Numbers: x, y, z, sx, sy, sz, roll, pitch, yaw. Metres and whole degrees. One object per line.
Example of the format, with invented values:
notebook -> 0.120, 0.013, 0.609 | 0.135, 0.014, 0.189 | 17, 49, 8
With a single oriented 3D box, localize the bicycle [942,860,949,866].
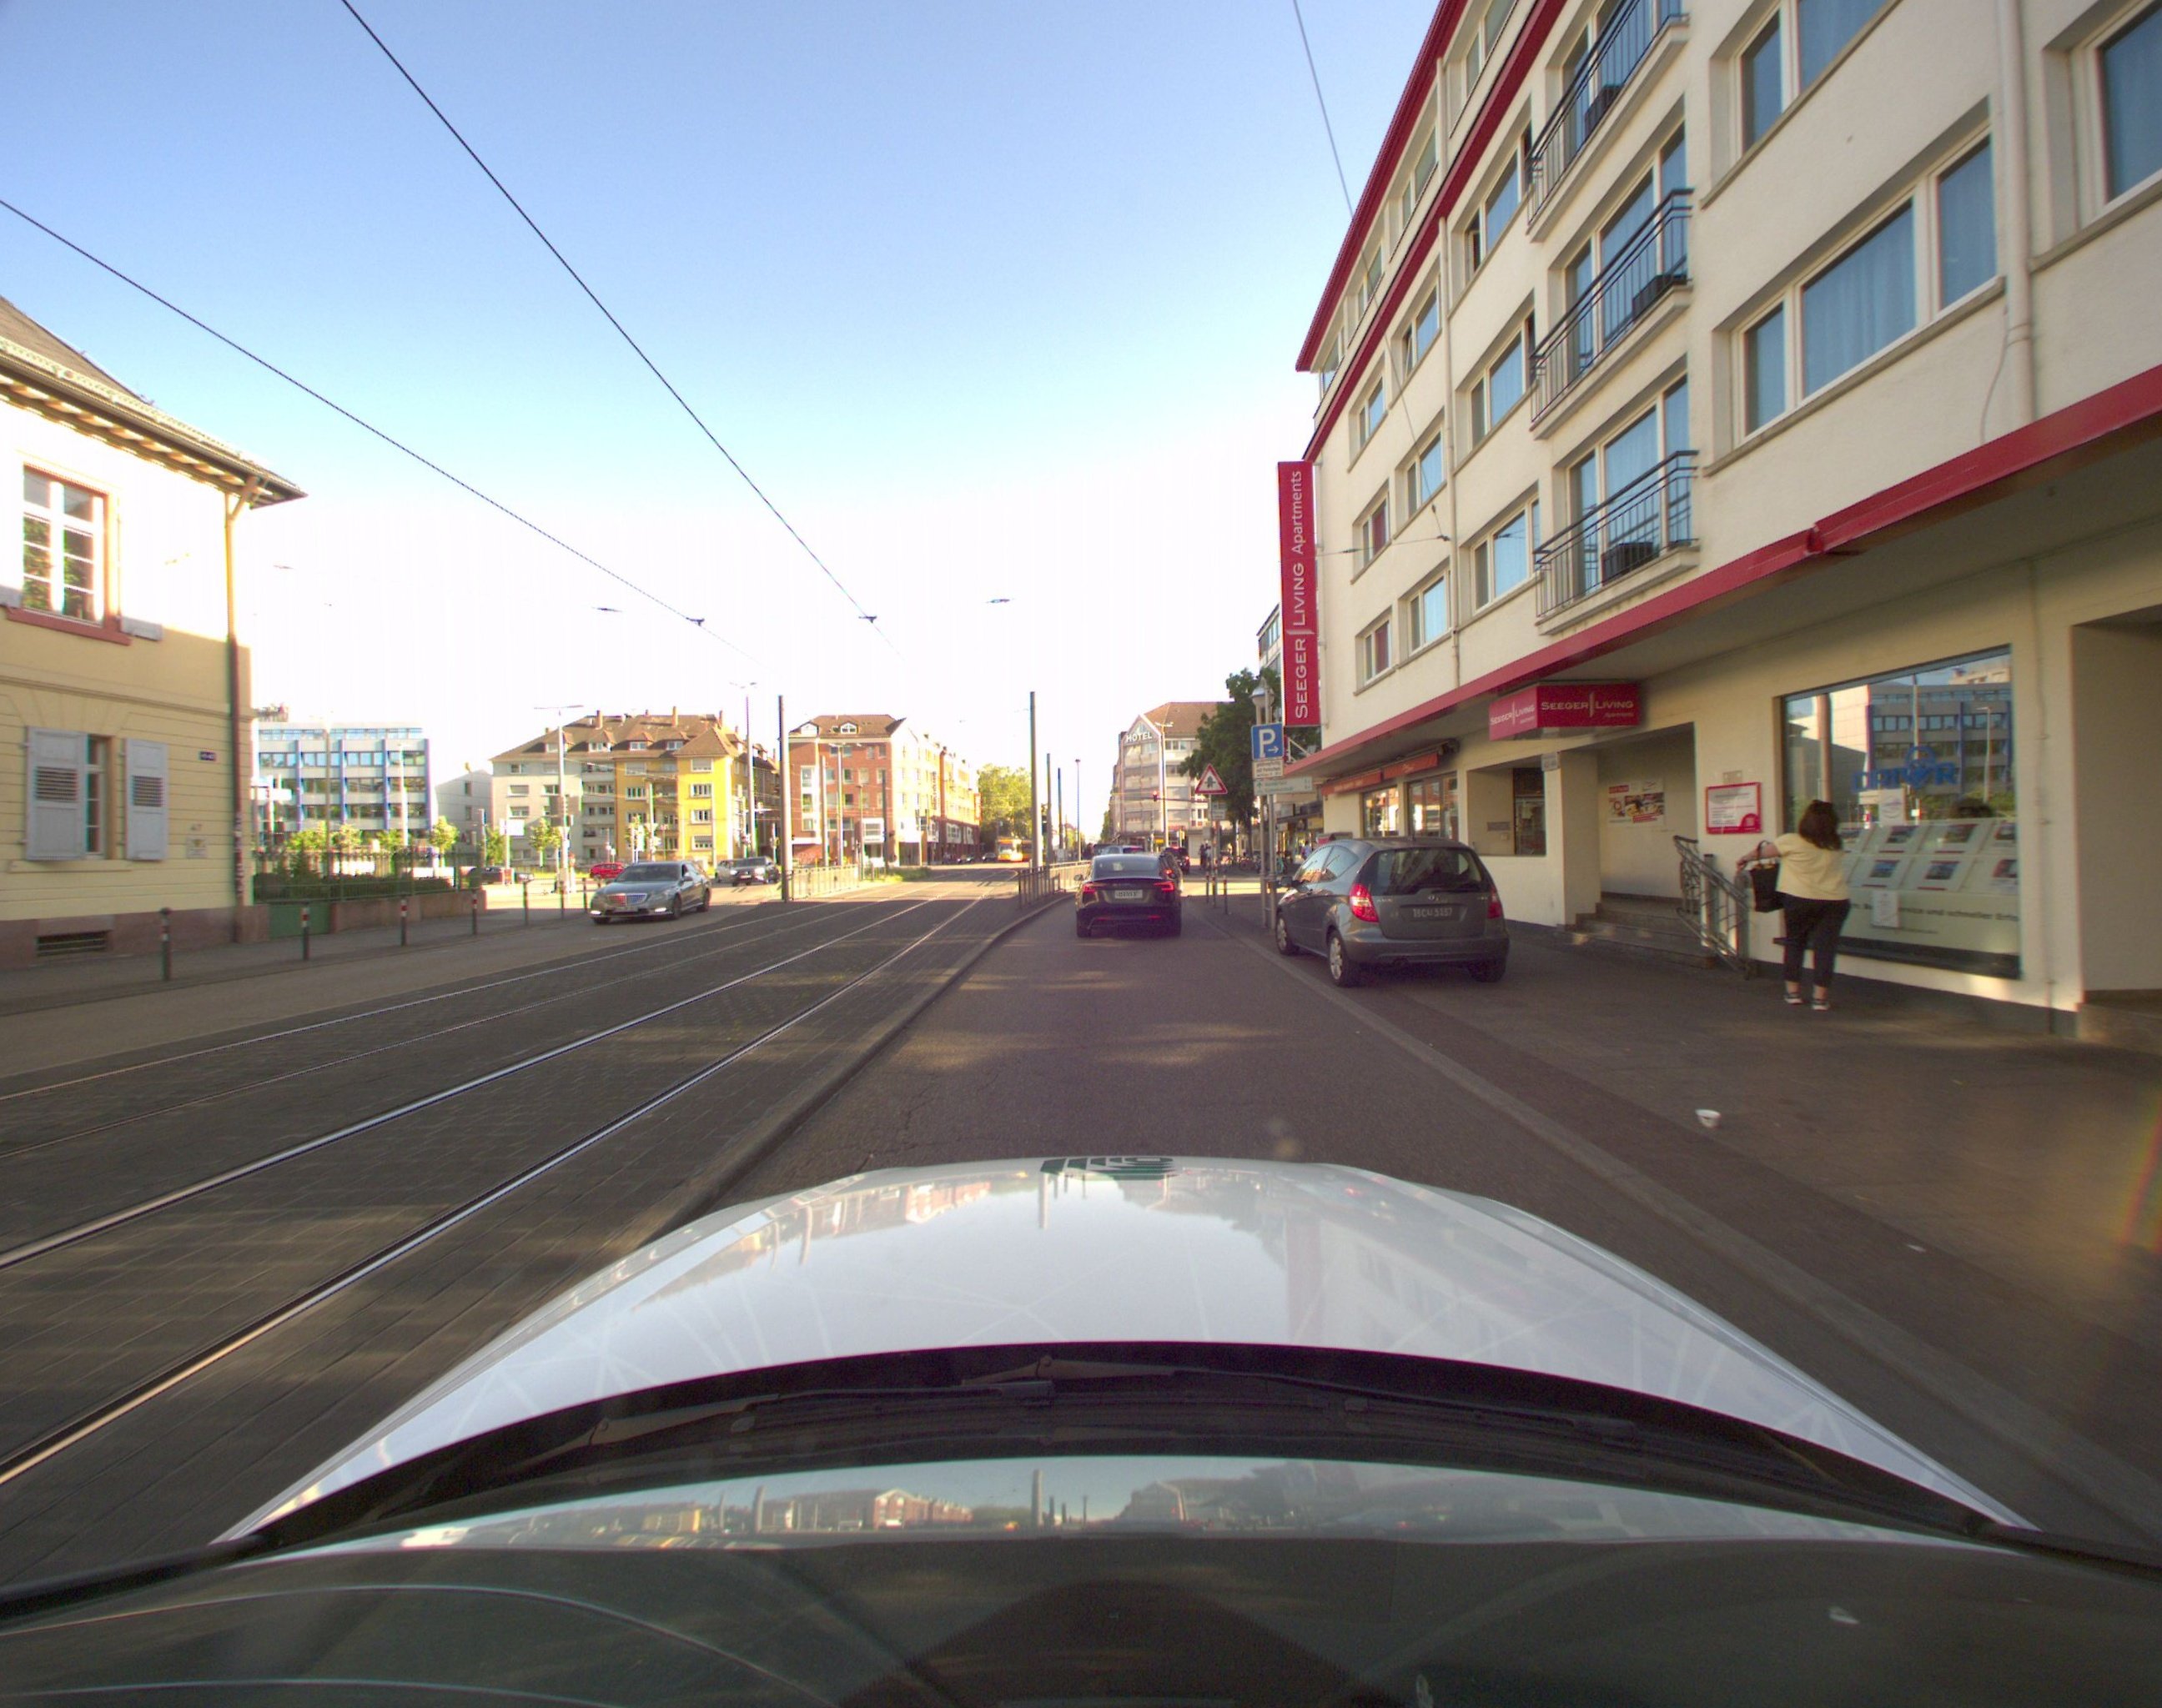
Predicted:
bicycle -> -19.239, 1.252, 115.649 | 0.699, 0.855, 2.054 | -2, 0, 1

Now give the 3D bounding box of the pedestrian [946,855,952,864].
pedestrian -> -19.188, 0.750, 118.240 | 0.693, 1.308, 0.564 | -2, 0, 0

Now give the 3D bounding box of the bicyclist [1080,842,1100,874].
bicyclist -> 0.422, 0.176, 38.372 | 0.835, 1.500, 0.559 | 1, 0, -7

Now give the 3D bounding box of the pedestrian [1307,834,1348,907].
pedestrian -> 5.808, 0.378, 19.176 | 0.810, 1.683, 0.718 | 1, 0, 24

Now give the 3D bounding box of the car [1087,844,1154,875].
car -> 1.991, 0.260, 42.345 | 1.791, 1.519, 4.185 | 1, 0, -23

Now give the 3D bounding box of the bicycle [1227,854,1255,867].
bicycle -> 11.429, 0.470, 58.137 | 1.917, 0.890, 0.526 | -1, 0, 2

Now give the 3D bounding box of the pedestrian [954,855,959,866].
pedestrian -> -18.772, 0.970, 122.365 | 0.710, 1.667, 0.563 | 1, 0, -8

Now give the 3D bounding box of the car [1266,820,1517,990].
car -> 3.523, 0.494, 9.982 | 1.738, 1.632, 3.650 | -2, 0, 2

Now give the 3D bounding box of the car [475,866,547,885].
car -> -44.984, 1.696, 64.342 | 4.143, 1.490, 1.933 | 0, 0, -8

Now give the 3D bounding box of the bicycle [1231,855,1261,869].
bicycle -> 11.367, 0.548, 56.123 | 1.917, 0.888, 0.526 | -1, 0, 2

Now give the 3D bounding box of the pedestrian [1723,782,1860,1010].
pedestrian -> 6.091, 0.328, 6.974 | 0.796, 1.774, 0.938 | -2, -1, 44

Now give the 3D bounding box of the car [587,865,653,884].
car -> -37.157, 1.649, 65.750 | 4.143, 1.490, 1.933 | 0, 0, -8

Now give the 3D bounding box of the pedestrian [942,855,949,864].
pedestrian -> -19.247, 0.791, 115.658 | 0.708, 1.342, 0.666 | -1, 0, 1

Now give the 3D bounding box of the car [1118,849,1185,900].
car -> 2.265, 0.564, 25.358 | 1.643, 1.418, 4.012 | 1, 1, 11

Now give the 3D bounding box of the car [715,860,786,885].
car -> -22.354, 1.246, 55.036 | 4.551, 1.556, 1.826 | 1, 0, 25

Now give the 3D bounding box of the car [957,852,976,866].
car -> -16.902, 0.697, 120.440 | 1.986, 2.013, 4.002 | -2, 0, 2

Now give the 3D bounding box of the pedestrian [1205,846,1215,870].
pedestrian -> 8.716, 0.289, 55.007 | 0.626, 1.613, 0.644 | 0, 0, 5

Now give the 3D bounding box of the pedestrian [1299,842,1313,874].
pedestrian -> 11.788, 0.188, 42.695 | 0.592, 1.641, 0.467 | -2, -1, 3

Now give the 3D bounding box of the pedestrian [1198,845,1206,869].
pedestrian -> 8.492, 0.190, 57.231 | 0.559, 1.683, 0.751 | 0, 0, 6

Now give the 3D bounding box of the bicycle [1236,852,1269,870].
bicycle -> 10.764, 0.422, 51.186 | 1.917, 1.097, 0.555 | -1, 0, 2

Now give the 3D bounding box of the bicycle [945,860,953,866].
bicycle -> -19.180, 1.341, 118.156 | 0.699, 0.855, 2.054 | -2, 0, 1

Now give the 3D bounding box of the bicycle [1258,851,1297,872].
bicycle -> 10.823, 0.417, 44.951 | 2.043, 1.121, 0.483 | -1, 0, 2

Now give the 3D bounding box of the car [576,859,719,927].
car -> -11.040, 0.908, 21.175 | 1.881, 1.495, 4.911 | -2, 0, -11

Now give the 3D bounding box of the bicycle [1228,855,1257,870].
bicycle -> 10.920, 0.560, 55.088 | 1.917, 0.950, 0.526 | -1, 0, 2

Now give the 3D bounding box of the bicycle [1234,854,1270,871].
bicycle -> 10.295, 0.522, 49.132 | 2.043, 0.982, 0.483 | -1, 0, 2

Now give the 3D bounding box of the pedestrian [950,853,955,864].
pedestrian -> -18.958, 0.640, 120.200 | 0.710, 1.555, 0.563 | 1, 0, -8

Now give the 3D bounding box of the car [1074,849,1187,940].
car -> 0.827, 0.669, 15.236 | 1.843, 1.484, 3.787 | 0, 0, 0

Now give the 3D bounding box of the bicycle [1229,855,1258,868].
bicycle -> 11.365, 0.536, 57.045 | 1.917, 0.890, 0.526 | -1, 0, 2

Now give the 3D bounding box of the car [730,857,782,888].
car -> -17.042, 0.911, 42.898 | 1.765, 1.512, 4.262 | -1, 0, -12

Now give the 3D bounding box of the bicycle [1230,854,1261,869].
bicycle -> 10.922, 0.482, 54.073 | 1.917, 0.950, 0.526 | -1, 0, 2

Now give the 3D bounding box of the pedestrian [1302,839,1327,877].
pedestrian -> 10.937, 0.203, 38.206 | 1.009, 1.742, 0.524 | 1, 0, -24

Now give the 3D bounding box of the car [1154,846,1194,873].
car -> 5.573, 0.316, 49.107 | 1.820, 1.519, 3.644 | 1, 0, -4

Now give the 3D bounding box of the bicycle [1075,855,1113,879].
bicycle -> 0.620, 0.600, 38.469 | 1.726, 1.088, 0.676 | 1, 0, -7

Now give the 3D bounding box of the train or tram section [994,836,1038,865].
train or tram section -> -8.622, -0.444, 110.441 | 2.659, 3.715, 14.227 | 1, 0, 9

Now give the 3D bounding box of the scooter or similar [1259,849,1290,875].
scooter or similar -> 10.138, 0.423, 42.587 | 1.415, 1.316, 0.691 | -1, -2, -24

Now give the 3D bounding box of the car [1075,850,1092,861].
car -> 0.335, 0.259, 111.052 | 1.984, 1.420, 4.005 | 1, 0, 4

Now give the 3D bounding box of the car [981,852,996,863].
car -> -14.013, 0.563, 123.307 | 1.744, 1.651, 4.002 | 1, 0, 2

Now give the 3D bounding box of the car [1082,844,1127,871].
car -> 1.361, 0.201, 48.971 | 1.825, 1.519, 4.201 | 1, 0, -11

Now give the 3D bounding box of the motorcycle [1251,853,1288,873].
motorcycle -> 10.866, 0.526, 46.885 | 1.984, 1.128, 0.596 | 1, 0, 1
